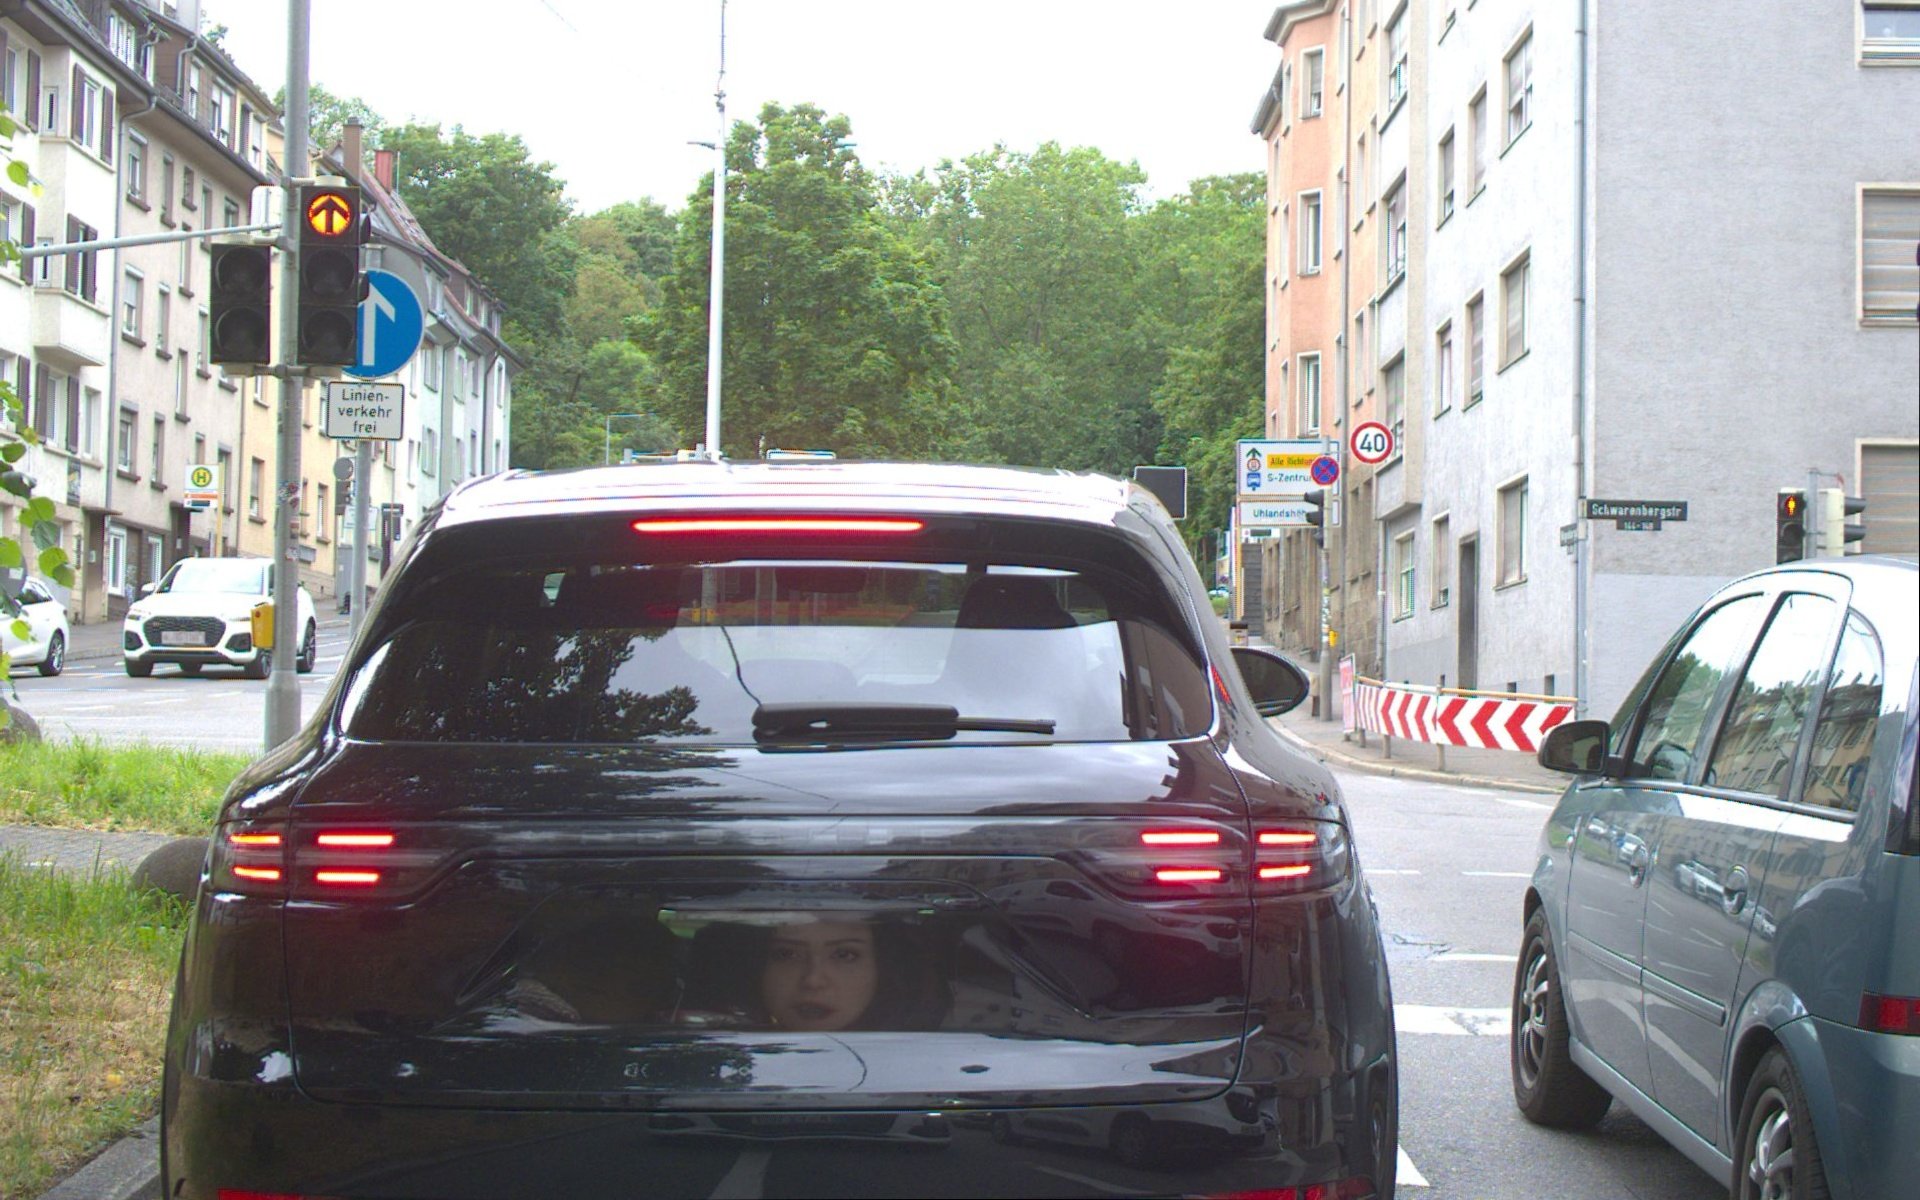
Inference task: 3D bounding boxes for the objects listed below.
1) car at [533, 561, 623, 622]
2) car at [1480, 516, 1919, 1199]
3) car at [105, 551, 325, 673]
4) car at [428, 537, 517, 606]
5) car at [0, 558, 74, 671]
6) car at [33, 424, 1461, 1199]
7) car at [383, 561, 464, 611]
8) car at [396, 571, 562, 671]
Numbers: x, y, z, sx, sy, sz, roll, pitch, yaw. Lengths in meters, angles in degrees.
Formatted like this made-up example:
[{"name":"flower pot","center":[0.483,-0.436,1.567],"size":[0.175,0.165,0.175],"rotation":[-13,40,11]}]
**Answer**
[{"name":"car","center":[-9.499,-0.192,85.707],"size":[1.619,1.475,3.823],"rotation":[1,-1,3]},{"name":"car","center":[2.352,0.681,7.873],"size":[1.628,1.592,3.669],"rotation":[4,1,-1]},{"name":"car","center":[-10.336,0.138,48.044],"size":[1.974,1.605,4.558],"rotation":[1,1,1]},{"name":"car","center":[-14.807,-0.864,104.631],"size":[2.016,2.038,4.667],"rotation":[1,1,0]},{"name":"car","center":[-13.489,0.172,46.521],"size":[1.844,1.481,3.897],"rotation":[1,1,2]},{"name":"car","center":[-0.315,0.574,6.718],"size":[1.955,1.669,4.000],"rotation":[0,1,-1]},{"name":"car","center":[-15.396,-0.412,98.816],"size":[1.739,1.382,3.814],"rotation":[1,1,0]},{"name":"car","center":[-7.030,0.276,50.576],"size":[1.862,1.383,4.094],"rotation":[1,1,0]}]
